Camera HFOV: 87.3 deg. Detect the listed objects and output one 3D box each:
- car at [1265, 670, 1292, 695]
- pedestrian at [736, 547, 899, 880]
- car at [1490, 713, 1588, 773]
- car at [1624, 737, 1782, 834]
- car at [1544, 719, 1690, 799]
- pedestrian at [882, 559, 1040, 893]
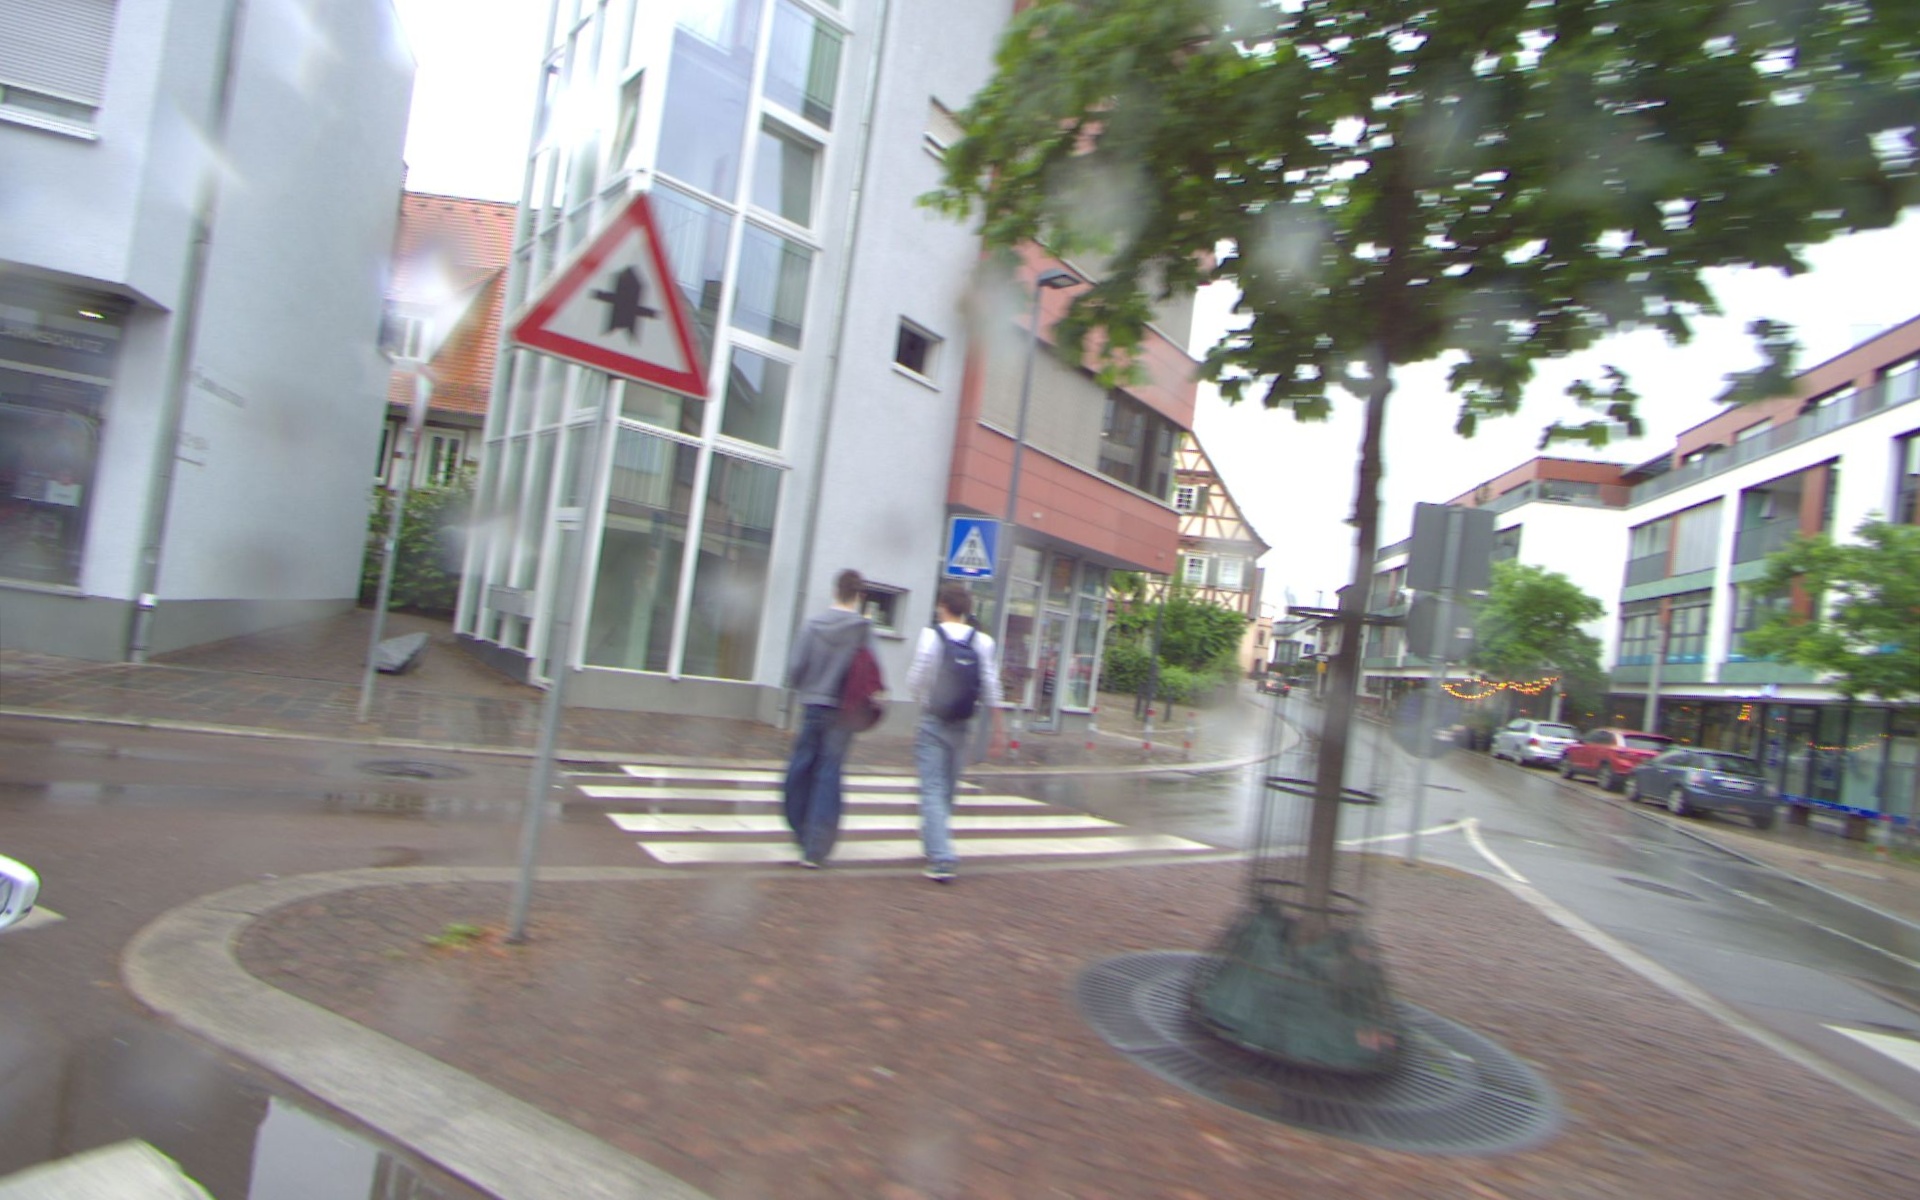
[{"bbox_3d":[22.317,5.776,70.555,1.498,1.487,3.345,7,-2,15],"label":"car"},{"bbox_3d":[-0.843,0.668,6.270,0.682,1.821,1.059,7,-2,-2],"label":"pedestrian"},{"bbox_3d":[18.226,4.473,31.854,1.590,1.430,4.004,5,-2,15],"label":"car"},{"bbox_3d":[15.630,3.853,21.363,1.512,1.379,3.374,6,0,16],"label":"car"},{"bbox_3d":[16.983,4.061,26.240,1.598,1.518,4.005,5,-2,9],"label":"car"},{"bbox_3d":[-0.032,0.736,6.247,0.654,1.827,1.061,7,-2,-6],"label":"pedestrian"}]
